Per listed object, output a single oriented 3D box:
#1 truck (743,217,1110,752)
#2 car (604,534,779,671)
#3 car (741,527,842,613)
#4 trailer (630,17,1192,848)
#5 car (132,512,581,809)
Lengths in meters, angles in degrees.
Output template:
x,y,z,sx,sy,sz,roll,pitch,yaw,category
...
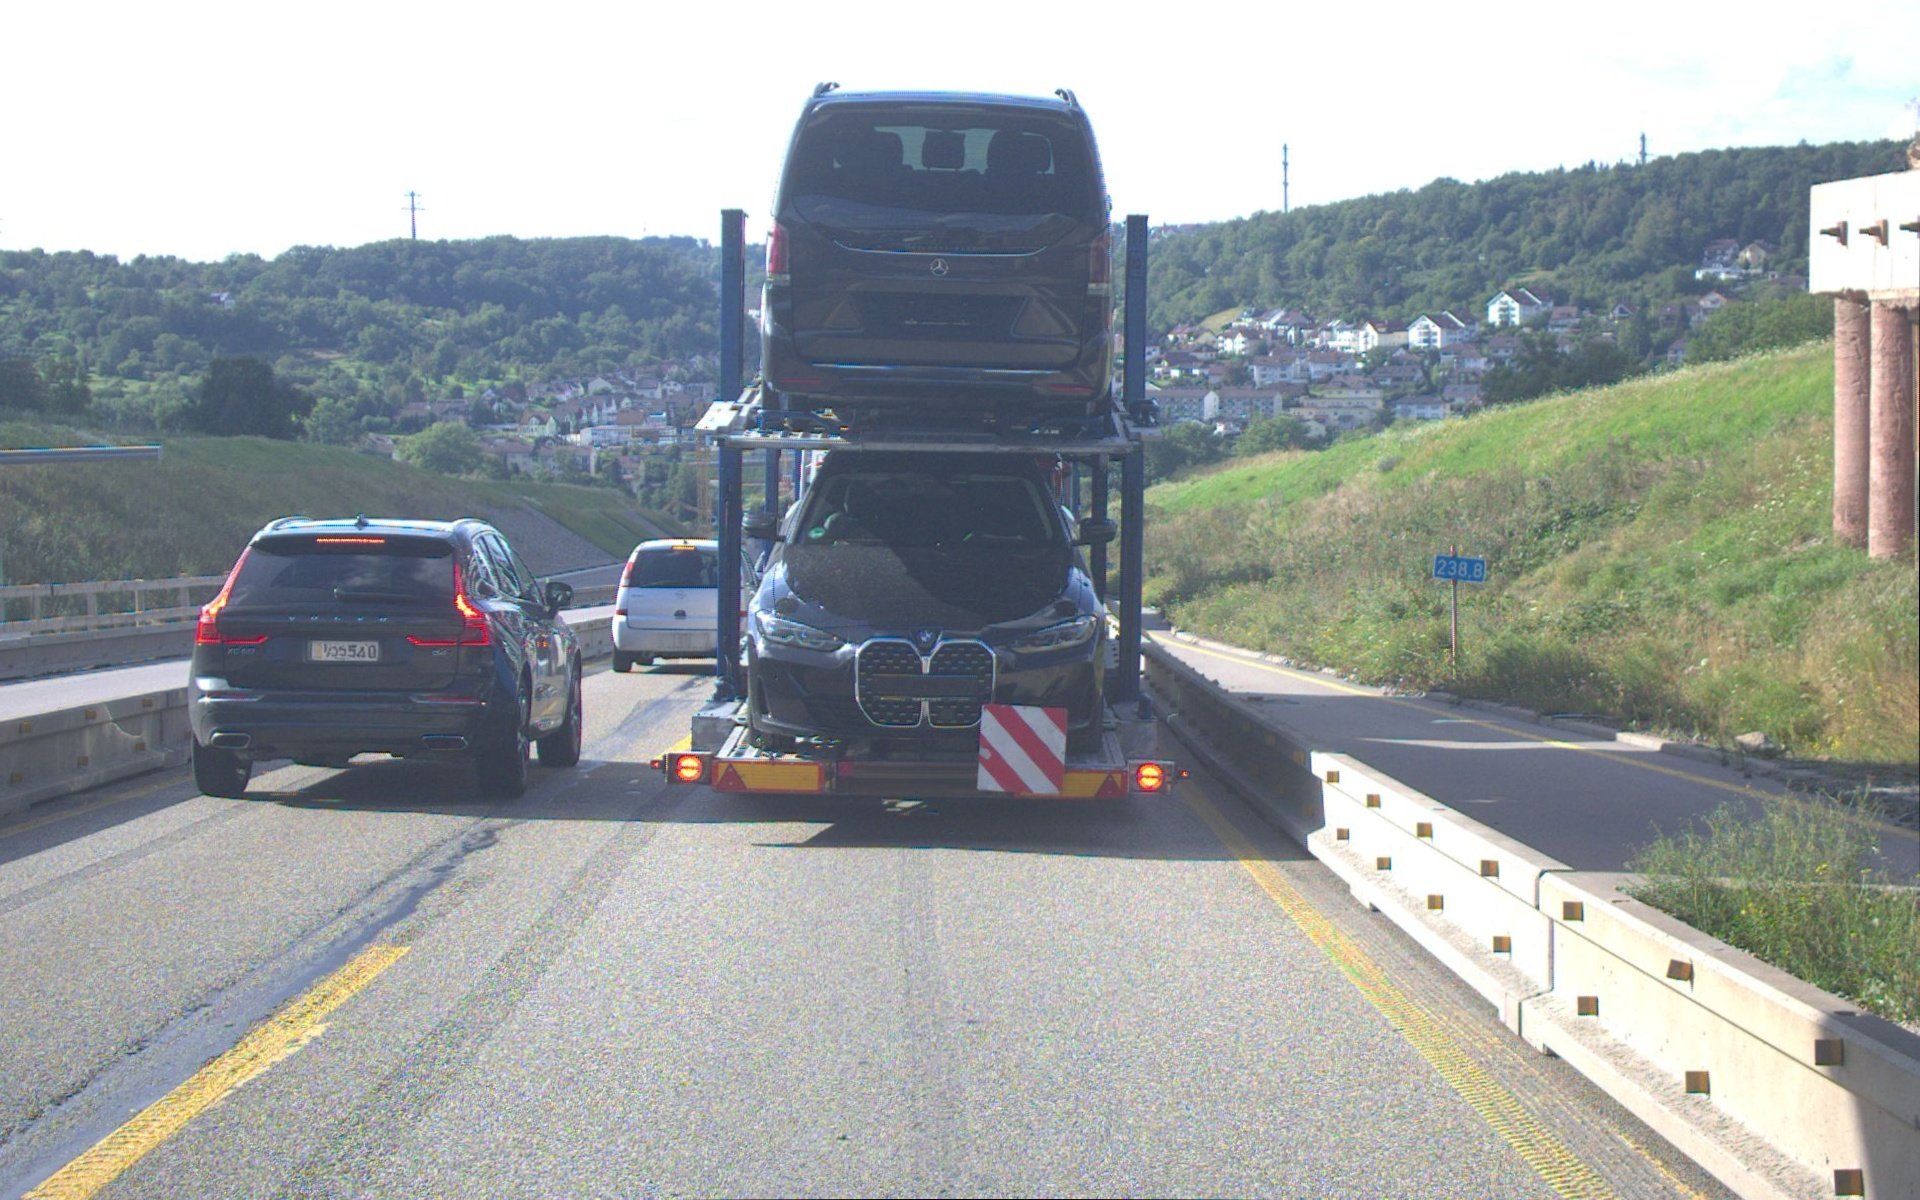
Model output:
x,y,z,sx,sy,sz,roll,pitch,yaw,category
-0.222,-0.889,28.135,2.678,3.908,6.027,0,1,1,truck
-3.246,-0.015,42.328,1.796,1.591,4.743,0,1,0,car
-3.060,-0.574,63.105,1.796,1.525,4.296,0,1,-2,car
-0.251,-0.896,22.319,2.708,4.015,11.420,0,1,0,trailer
-3.596,0.286,21.370,1.993,1.619,4.750,1,1,-1,car
